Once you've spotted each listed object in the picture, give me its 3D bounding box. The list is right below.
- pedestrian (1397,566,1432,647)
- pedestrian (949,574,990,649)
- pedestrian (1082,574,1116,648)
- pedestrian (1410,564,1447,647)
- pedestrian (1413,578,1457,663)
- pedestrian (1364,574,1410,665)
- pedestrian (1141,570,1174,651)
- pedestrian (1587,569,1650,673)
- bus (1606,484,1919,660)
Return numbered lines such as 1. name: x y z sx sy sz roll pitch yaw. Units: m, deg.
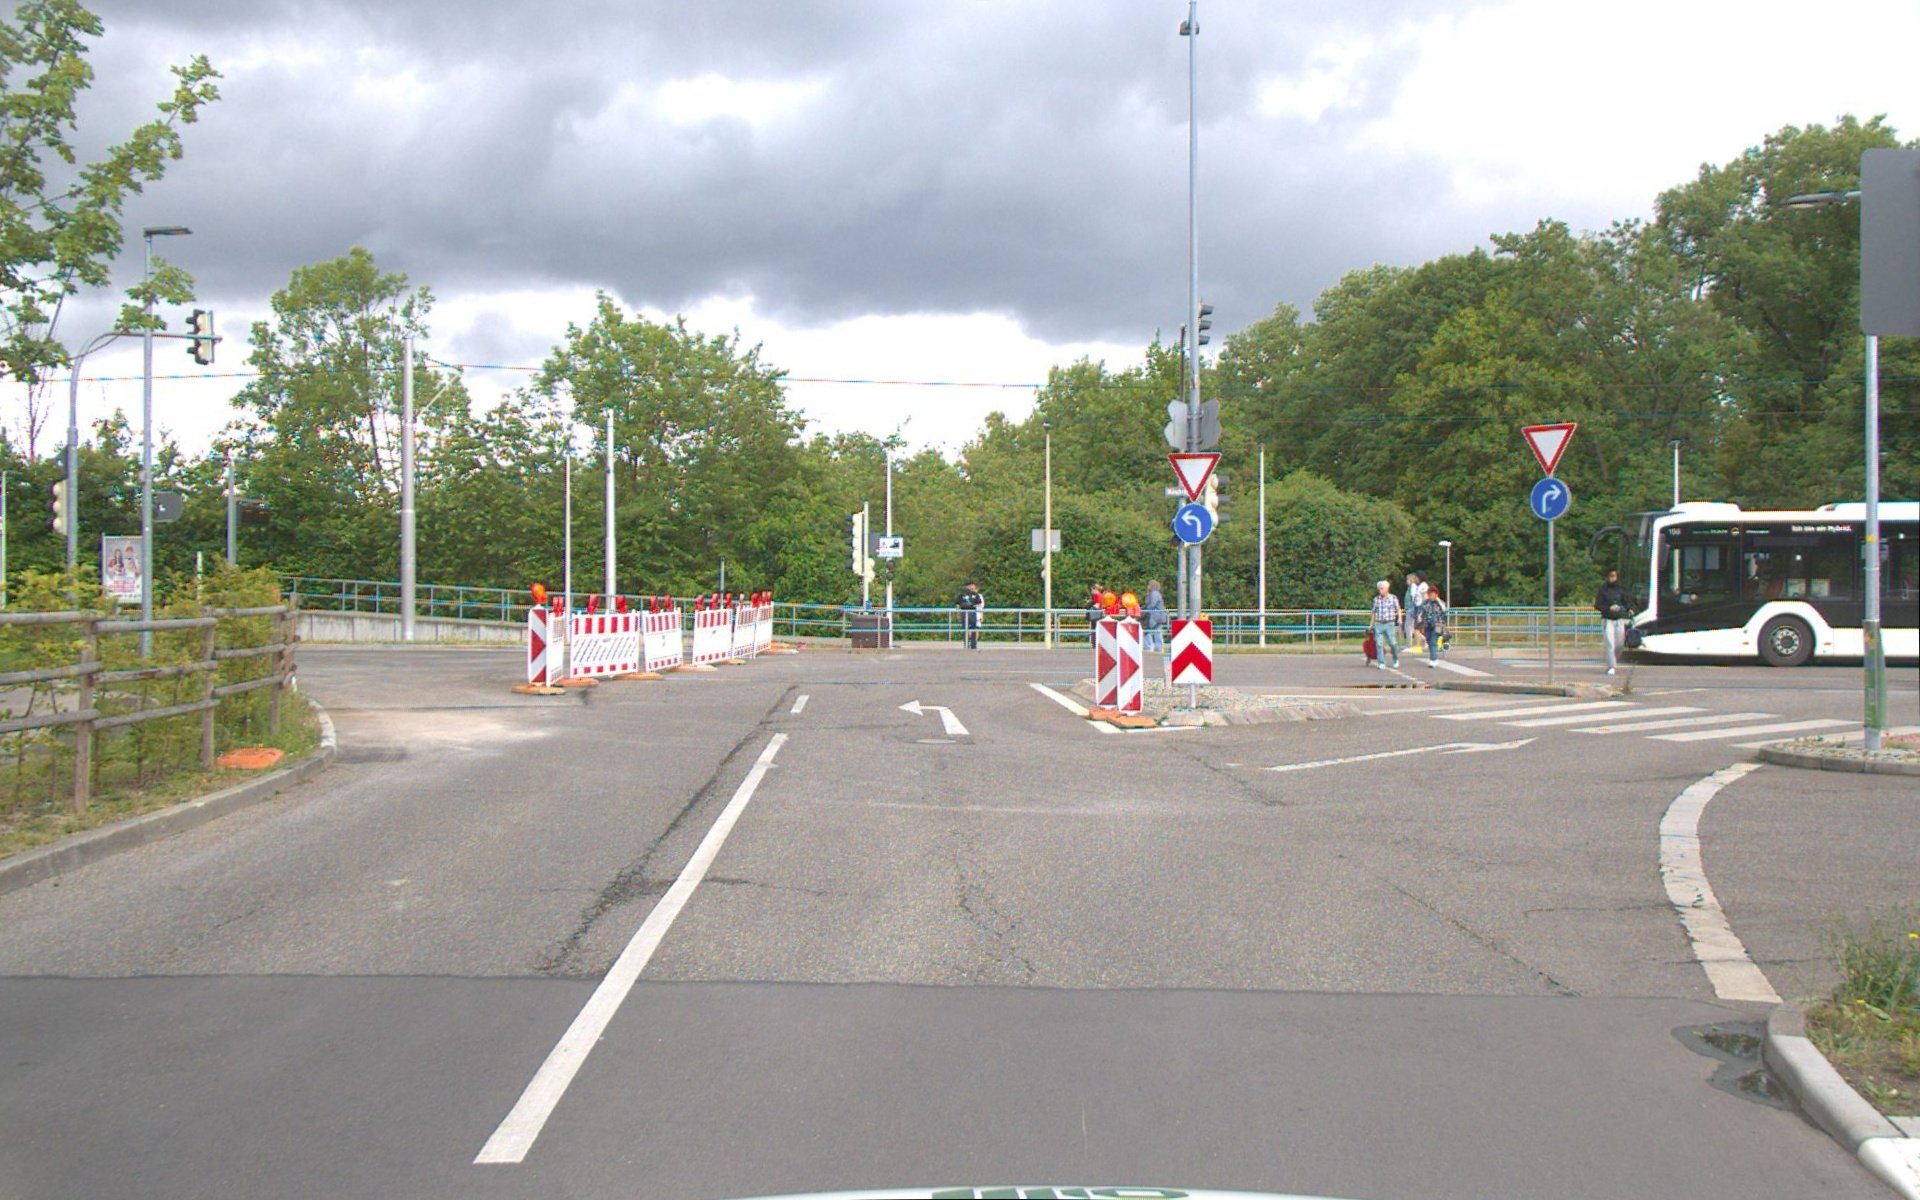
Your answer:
1. pedestrian: 10.127 0.141 36.845 0.705 1.778 0.958 0 0 14
2. pedestrian: 0.219 0.276 39.876 0.935 1.778 0.722 0 0 -5
3. pedestrian: 3.174 0.247 37.657 0.705 1.649 0.806 0 0 8
4. pedestrian: 10.124 0.114 35.769 0.705 1.778 0.958 0 0 14
5. pedestrian: 9.034 0.378 31.446 0.676 1.594 0.732 1 0 27
6. pedestrian: 7.971 0.351 30.888 0.683 1.662 0.722 1 0 27
7. pedestrian: 4.396 0.222 36.792 0.705 1.778 0.958 0 0 8
8. pedestrian: 11.643 0.356 29.217 0.936 1.777 1.061 1 0 27
9. bus: 19.015 -0.534 31.912 11.900 3.259 2.677 0 0 8
